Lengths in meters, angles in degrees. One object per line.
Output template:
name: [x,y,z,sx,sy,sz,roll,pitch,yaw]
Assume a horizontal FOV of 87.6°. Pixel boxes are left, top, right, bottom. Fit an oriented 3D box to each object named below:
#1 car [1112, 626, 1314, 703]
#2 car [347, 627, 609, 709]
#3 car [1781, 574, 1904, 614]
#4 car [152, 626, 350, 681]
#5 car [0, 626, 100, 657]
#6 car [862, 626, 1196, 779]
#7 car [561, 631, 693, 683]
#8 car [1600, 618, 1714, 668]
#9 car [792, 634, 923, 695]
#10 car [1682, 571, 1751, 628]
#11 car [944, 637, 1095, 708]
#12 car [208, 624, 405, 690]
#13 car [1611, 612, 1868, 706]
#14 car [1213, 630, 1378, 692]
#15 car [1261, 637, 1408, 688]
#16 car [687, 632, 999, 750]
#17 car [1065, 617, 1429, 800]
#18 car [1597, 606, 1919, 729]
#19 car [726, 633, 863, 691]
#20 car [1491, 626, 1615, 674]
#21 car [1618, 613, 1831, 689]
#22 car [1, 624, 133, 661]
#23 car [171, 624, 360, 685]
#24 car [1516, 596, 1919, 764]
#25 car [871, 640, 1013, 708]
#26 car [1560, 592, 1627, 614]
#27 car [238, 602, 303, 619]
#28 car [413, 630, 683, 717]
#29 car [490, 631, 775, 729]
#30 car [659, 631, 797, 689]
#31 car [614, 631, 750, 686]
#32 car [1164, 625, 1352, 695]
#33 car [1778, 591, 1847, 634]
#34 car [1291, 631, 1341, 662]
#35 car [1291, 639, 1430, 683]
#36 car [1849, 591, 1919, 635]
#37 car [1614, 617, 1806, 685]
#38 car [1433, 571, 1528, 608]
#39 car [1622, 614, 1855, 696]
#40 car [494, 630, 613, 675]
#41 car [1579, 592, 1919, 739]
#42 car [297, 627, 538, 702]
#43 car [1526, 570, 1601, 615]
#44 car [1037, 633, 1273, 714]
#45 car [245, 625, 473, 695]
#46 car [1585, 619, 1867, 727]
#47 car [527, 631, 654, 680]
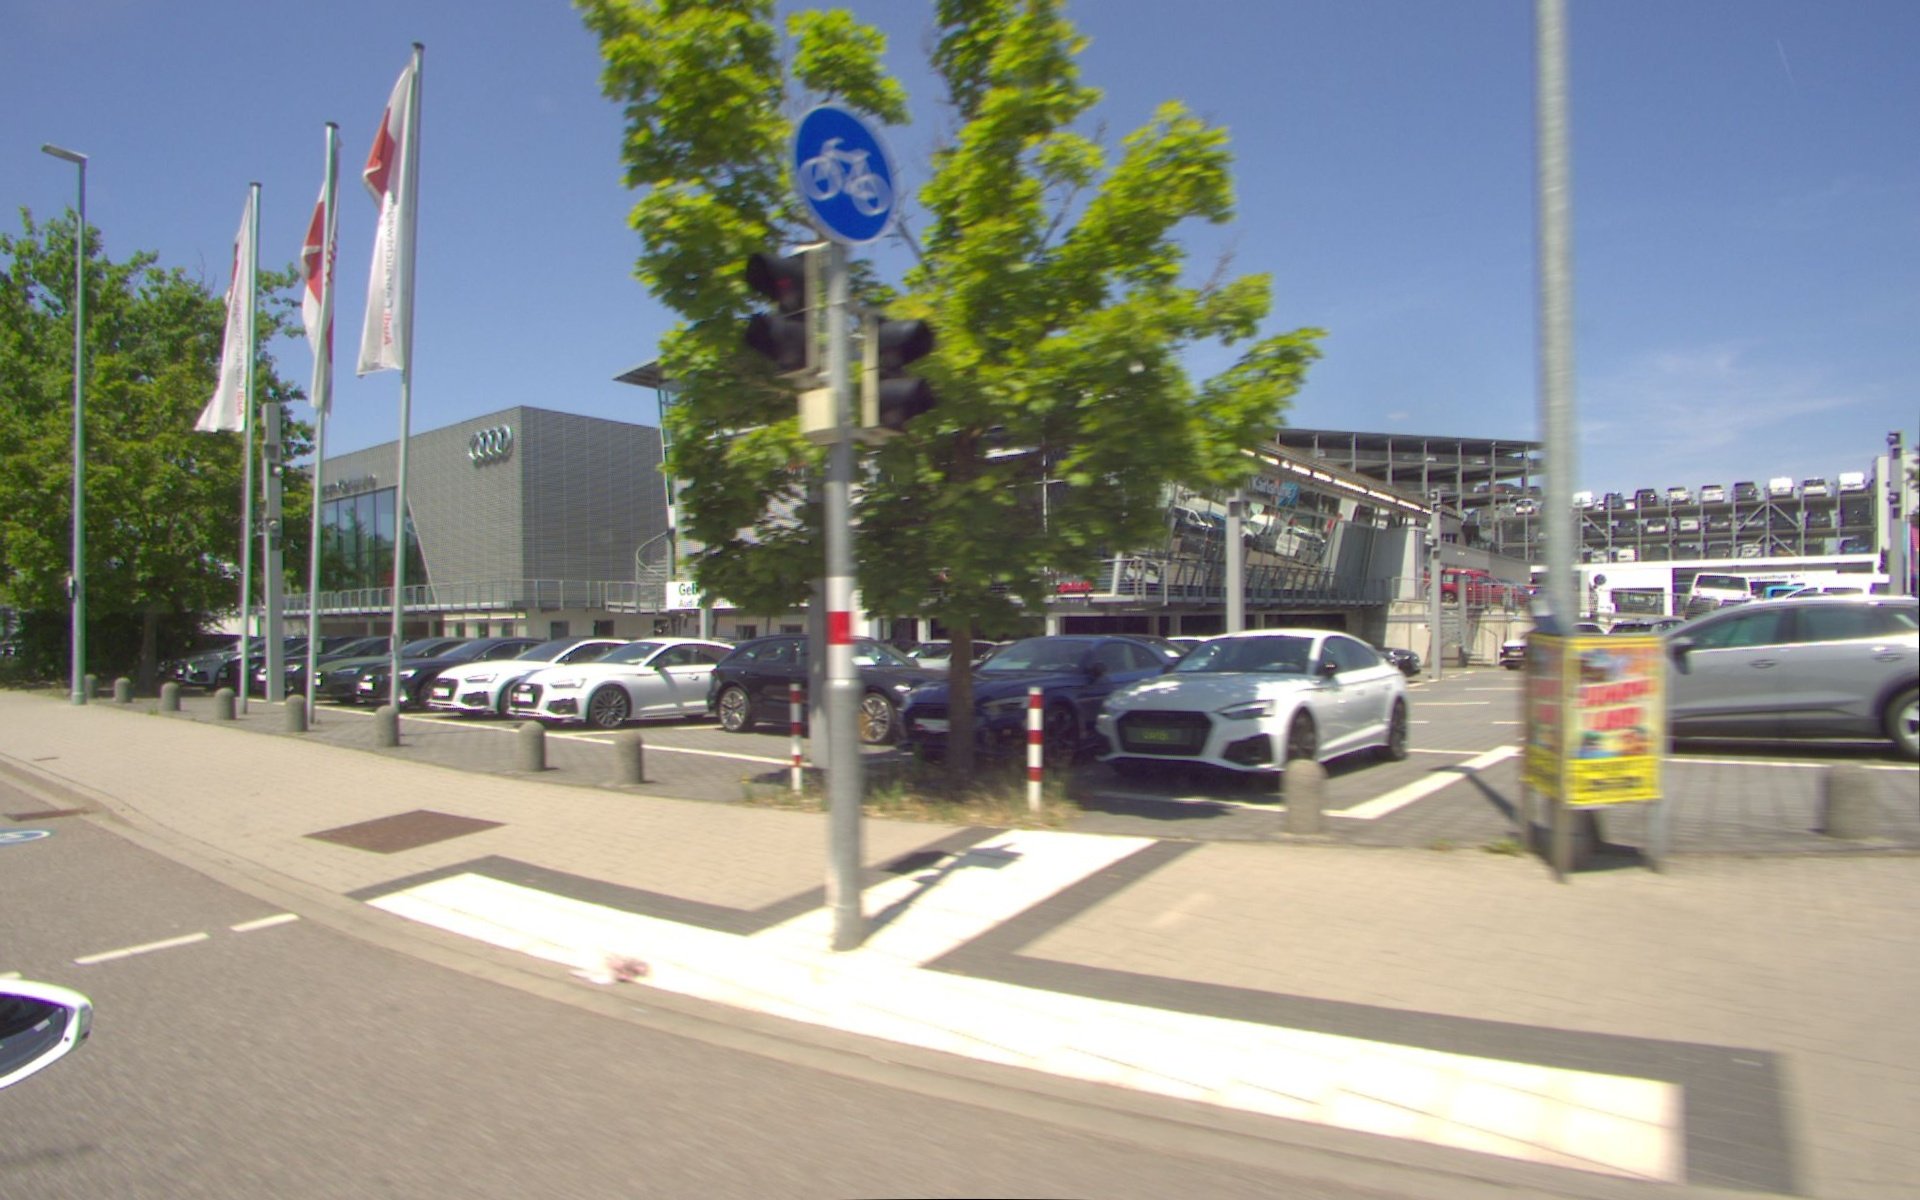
car: [5.919,1.485,23.660,4.259,1.647,1.867,-1,-4,41]
car: [-9.221,1.301,19.462,1.846,1.407,4.213,-1,-4,38]
car: [44.635,-0.258,50.796,4.529,1.911,1.901,-1,-1,37]
car: [-19.926,1.525,28.311,1.793,1.419,4.219,0,-3,38]
car: [-44.732,2.018,48.617,1.893,1.358,4.210,-1,-5,38]
car: [0.966,1.070,11.420,1.846,1.407,4.083,-1,-4,38]
car: [-11.422,1.964,34.575,1.827,1.675,3.973,-1,-4,38]
car: [23.347,1.444,33.522,3.747,1.523,1.681,0,-3,-30]
car: [-2.848,1.831,28.465,1.622,1.600,3.636,-1,-4,38]
car: [28.403,0.038,37.699,1.888,1.992,5.220,0,-1,35]
car: [1.567,1.774,24.942,1.827,1.618,3.973,-1,-4,38]
car: [-16.012,1.406,24.683,1.811,1.471,3.670,-1,-4,38]
car: [15.099,1.112,19.688,3.857,1.675,1.625,-1,-2,34]
car: [9.264,1.623,27.773,3.953,1.560,1.843,-1,-1,40]
car: [11.067,1.805,29.709,3.775,1.364,1.666,-1,-1,40]
car: [-1.823,1.218,14.564,4.608,1.437,1.856,-1,-4,40]
car: [3.101,0.974,10.075,1.847,1.407,4.575,-1,-4,40]
car: [12.184,1.000,15.452,3.943,1.675,1.841,-1,-3,34]
car: [-4.862,1.847,29.861,1.613,1.592,3.970,-1,-4,38]
car: [21.186,1.752,35.783,3.932,1.591,1.845,0,-1,-22]
car: [18.241,1.209,24.151,3.943,1.675,1.841,-1,-3,34]
car: [-40.413,1.945,45.396,1.757,1.396,4.121,-1,-6,38]
car: [-18.109,1.437,26.231,1.811,1.471,3.670,-1,-4,38]
car: [8.751,0.802,10.903,4.451,1.578,1.860,-3,-1,39]
car: [-0.394,1.942,26.560,1.636,1.642,3.973,-1,-4,38]
car: [49.748,0.260,78.660,4.305,1.674,1.899,-1,-1,39]
car: [-52.224,0.792,75.867,1.661,1.144,3.718,-1,-3,34]
car: [-7.218,1.275,17.906,1.846,1.365,4.087,-1,-4,38]
car: [-5.181,1.253,16.299,1.851,1.381,4.083,-1,-4,38]
car: [-7.202,1.876,31.401,1.827,1.675,3.973,-1,-4,38]
car: [-9.048,1.929,32.839,1.827,1.675,3.973,-1,-4,38]
car: [7.630,1.522,25.888,4.294,1.647,1.867,-1,-4,41]
car: [37.256,0.601,43.855,1.974,1.727,3.977,-1,-3,36]
car: [19.964,2.618,56.100,1.592,1.629,3.501,-1,-3,38]
car: [12.651,1.889,31.777,3.845,1.260,1.497,-1,-1,40]
car: [39.366,0.579,42.549,1.974,1.727,3.977,-1,-3,36]
car: [19.618,1.326,26.431,3.943,1.675,1.841,-1,-3,34]
car: [25.782,-0.497,49.605,4.089,1.744,1.904,-1,-1,31]
car: [17.134,1.193,22.327,3.943,1.675,1.841,-1,-3,34]
car: [-15.421,2.010,38.101,1.620,1.603,3.886,-1,-4,38]
car: [10.493,0.820,12.996,3.953,1.675,1.836,-1,-4,41]
car: [-11.375,1.347,21.219,1.846,1.422,4.088,-1,-4,38]
car: [24.555,-0.267,40.679,1.892,1.730,4.552,-1,-1,41]
car: [4.081,1.503,21.419,4.662,1.534,1.867,-2,-4,41]
car: [-13.710,1.378,23.051,1.846,1.471,4.088,-1,-4,38]
car: [13.265,1.200,17.631,3.765,1.637,1.632,1,-1,34]
car: [-13.384,2.015,36.442,1.827,1.675,3.973,-1,-4,38]
